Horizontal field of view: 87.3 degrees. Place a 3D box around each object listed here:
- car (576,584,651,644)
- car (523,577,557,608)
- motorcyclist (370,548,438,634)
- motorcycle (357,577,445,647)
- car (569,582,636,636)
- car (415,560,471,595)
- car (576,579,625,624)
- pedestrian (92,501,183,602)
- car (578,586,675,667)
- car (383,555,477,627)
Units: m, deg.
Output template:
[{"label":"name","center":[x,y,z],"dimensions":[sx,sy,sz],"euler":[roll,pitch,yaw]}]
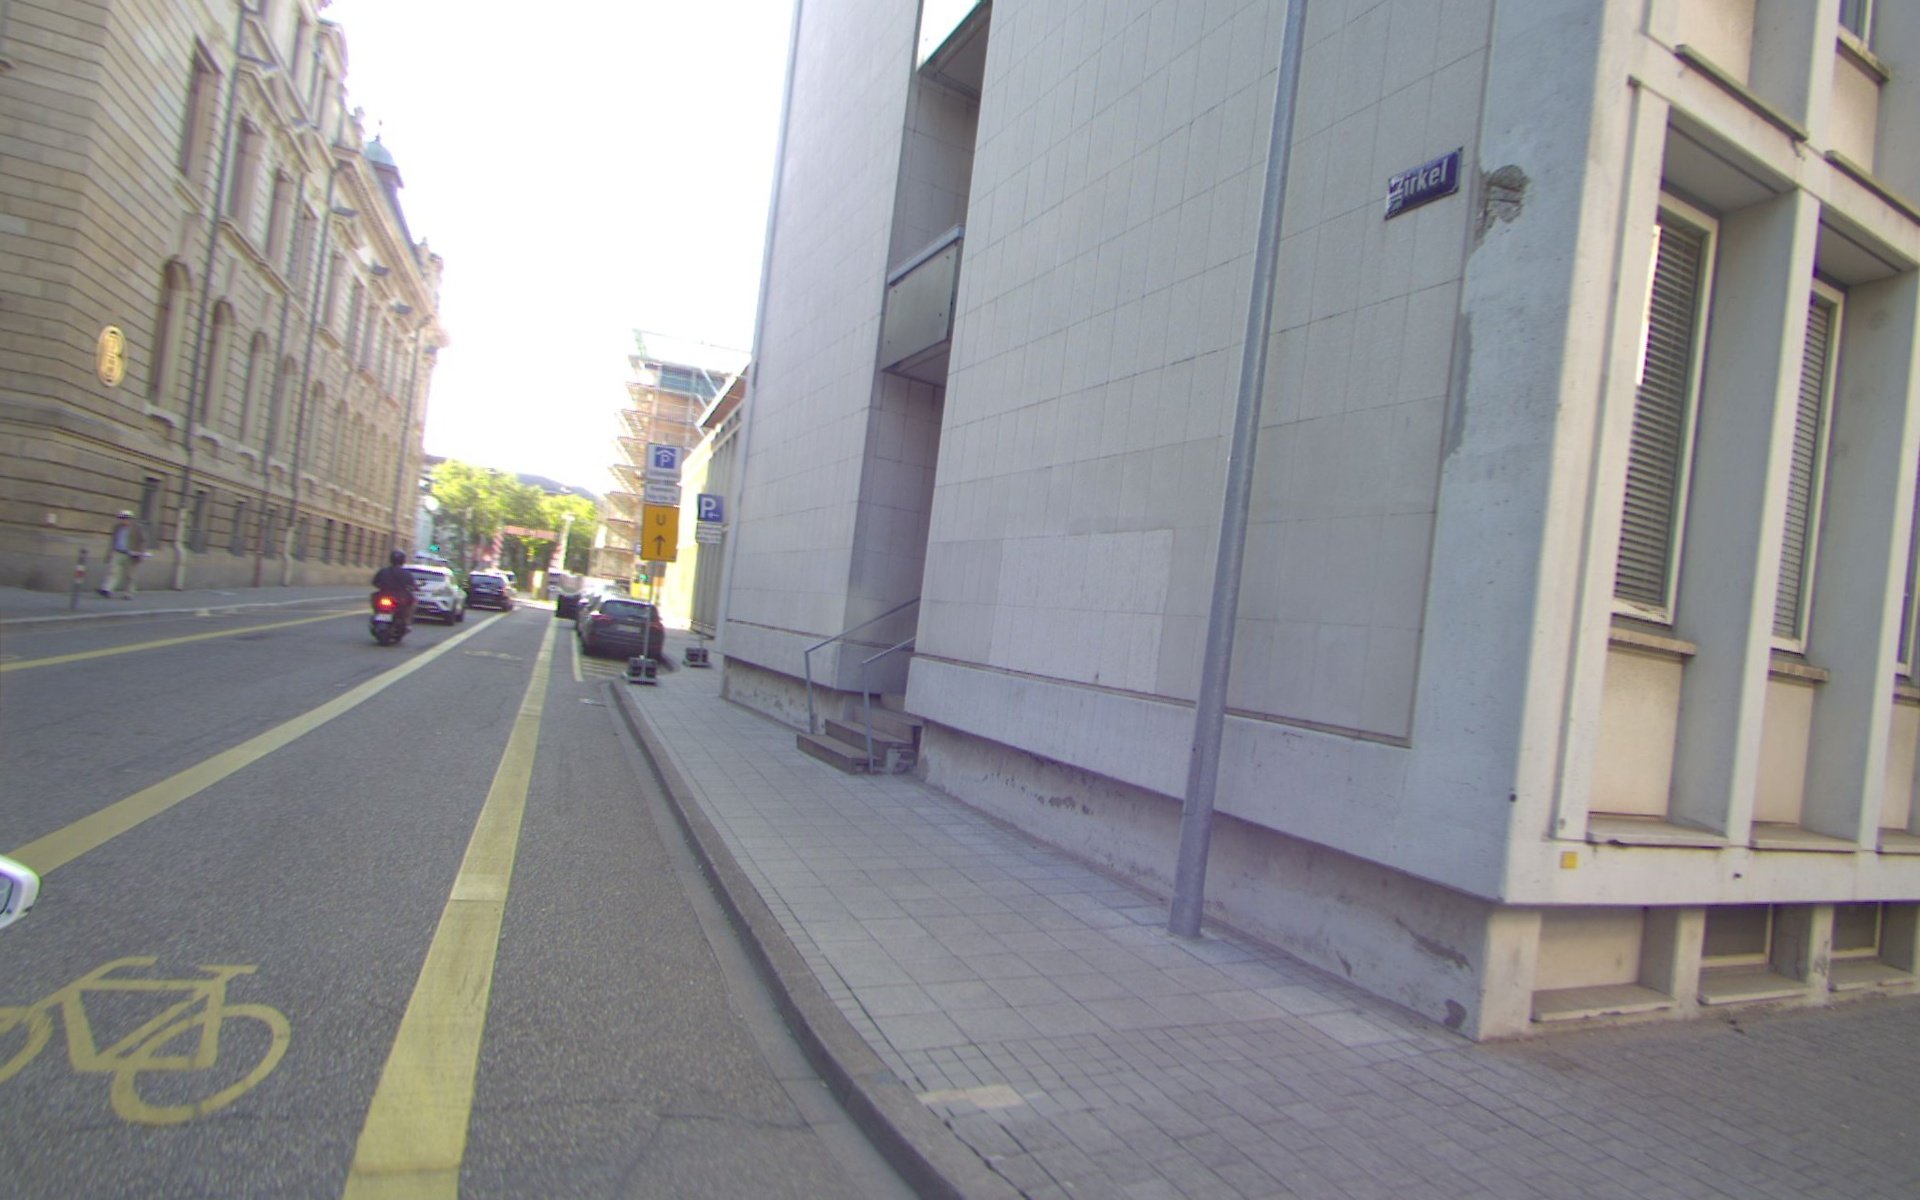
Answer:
[{"label":"car","center":[-10.403,0.407,30.037],"dimensions":[1.762,1.497,4.269],"euler":[7,-2,-22]},{"label":"car","center":[-24.058,-0.466,57.560],"dimensions":[1.612,1.504,3.768],"euler":[4,1,-24]},{"label":"motorcyclist","center":[-10.126,-0.153,18.328],"dimensions":[0.855,1.444,0.455],"euler":[6,-1,-12]},{"label":"motorcycle","center":[-10.165,0.227,18.373],"dimensions":[0.861,1.122,1.836],"euler":[6,-2,-14]},{"label":"car","center":[-12.624,0.284,35.371],"dimensions":[1.807,1.518,4.713],"euler":[9,-2,-22]},{"label":"car","center":[-30.705,-1.344,59.679],"dimensions":[1.984,1.686,4.309],"euler":[4,2,-40]},{"label":"car","center":[-17.080,0.025,47.649],"dimensions":[1.807,1.719,4.642],"euler":[9,-1,-22]},{"label":"pedestrian","center":[-16.439,-0.943,20.153],"dimensions":[0.833,1.819,1.069],"euler":[10,-3,-19]},{"label":"car","center":[-8.160,0.573,24.389],"dimensions":[1.765,1.497,4.266],"euler":[8,-1,-22]},{"label":"car","center":[-14.261,-0.254,27.282],"dimensions":[1.805,1.559,4.241],"euler":[8,-2,-24]}]
